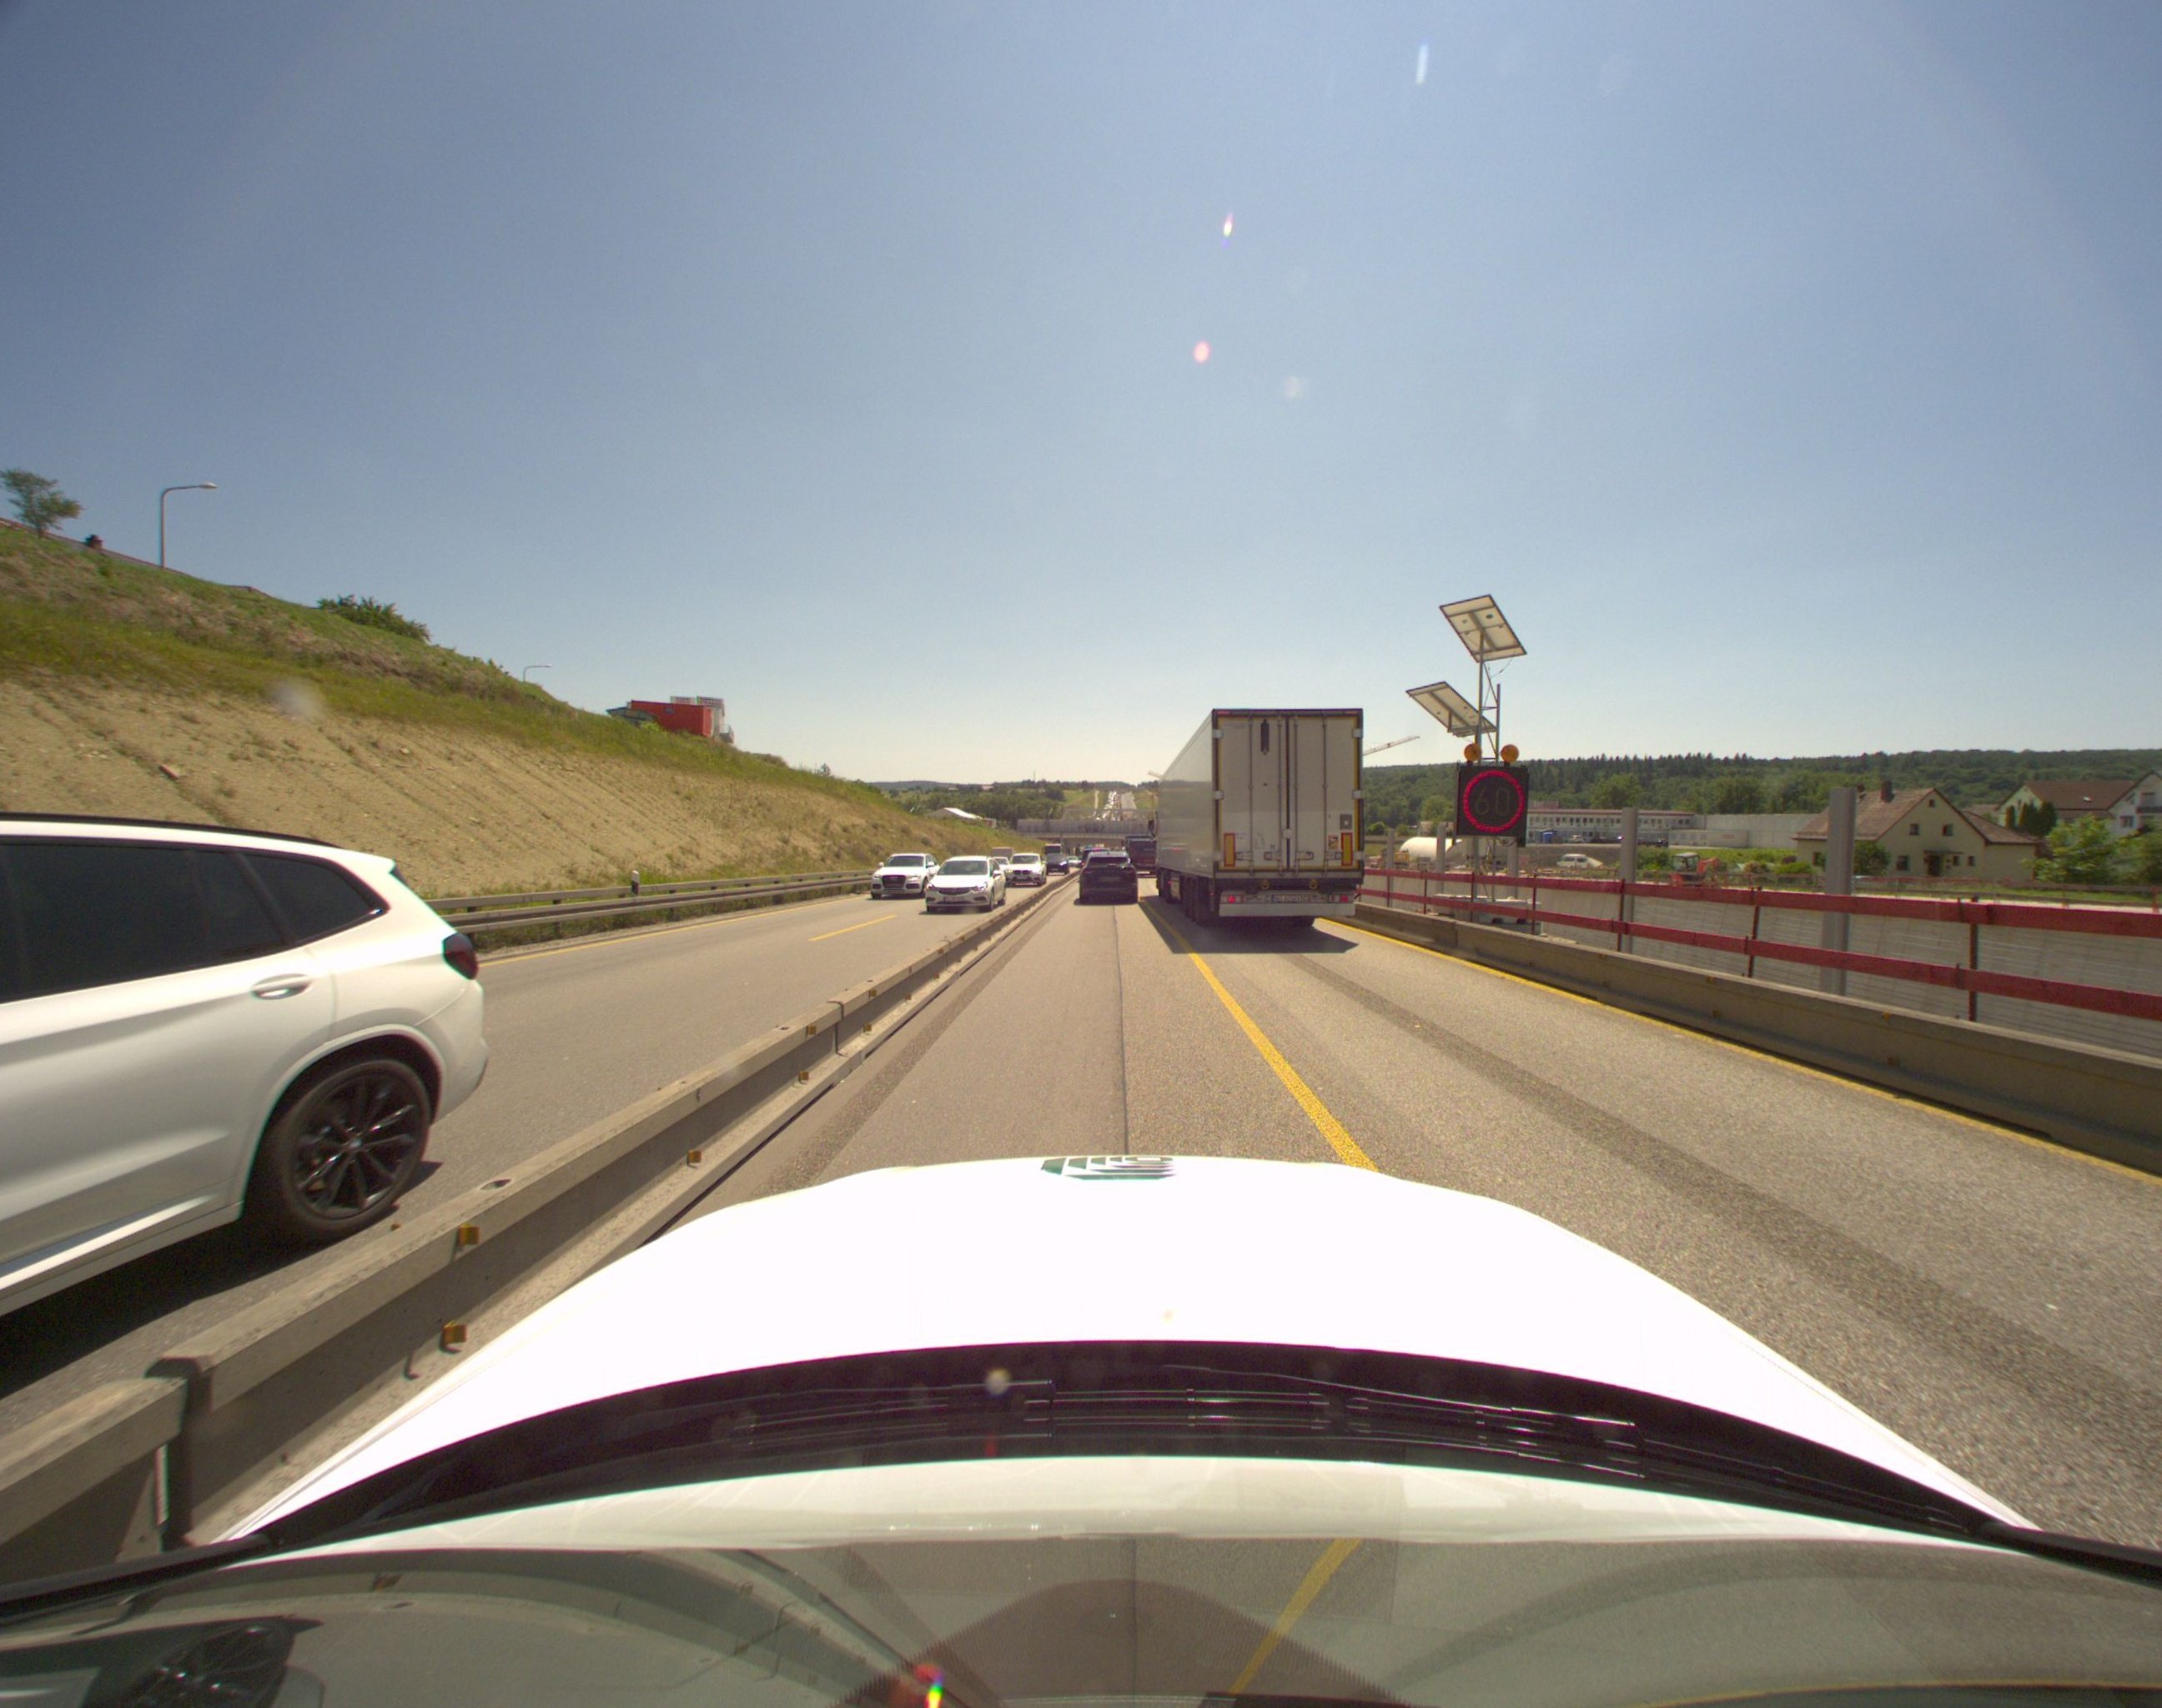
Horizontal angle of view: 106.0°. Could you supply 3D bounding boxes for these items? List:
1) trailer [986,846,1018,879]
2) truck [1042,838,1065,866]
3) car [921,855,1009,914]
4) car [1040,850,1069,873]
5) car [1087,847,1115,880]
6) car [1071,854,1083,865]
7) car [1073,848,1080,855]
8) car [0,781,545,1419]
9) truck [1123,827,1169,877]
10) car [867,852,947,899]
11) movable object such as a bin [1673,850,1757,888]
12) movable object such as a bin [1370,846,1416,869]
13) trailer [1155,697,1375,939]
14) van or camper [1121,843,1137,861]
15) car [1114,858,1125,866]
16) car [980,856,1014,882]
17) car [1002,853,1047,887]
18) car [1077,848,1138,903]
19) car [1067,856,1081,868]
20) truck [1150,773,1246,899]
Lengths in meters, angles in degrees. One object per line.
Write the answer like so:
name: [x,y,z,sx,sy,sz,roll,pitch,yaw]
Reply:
trailer: [-4.961,0.512,51.467,1.642,2.025,4.269,-1,0,-1]
truck: [-3.821,-0.247,116.083,2.577,3.723,9.336,-1,0,2]
car: [-3.170,0.783,23.054,1.800,1.477,4.281,0,0,1]
car: [-1.993,0.551,62.612,1.883,1.708,4.564,-1,0,2]
car: [1.174,0.515,46.647,1.468,1.795,3.300,-1,0,3]
car: [-0.552,0.772,113.865,1.679,1.430,4.122,-1,0,1]
car: [-1.053,-0.620,194.440,1.726,1.794,3.581,0,0,1]
car: [-3.842,0.663,2.056,1.884,1.708,4.562,0,0,1]
truck: [4.511,-0.115,58.834,2.803,3.135,12.845,-1,0,3]
car: [-6.373,0.739,30.321,1.892,1.584,4.515,0,0,1]
movable object such as a bin: [38.656,0.882,49.783,1.985,2.239,4.154,0,0,2]
movable object such as a bin: [41.472,0.434,108.712,2.876,2.909,9.485,0,0,3]
trailer: [3.755,-0.576,20.845,2.791,4.058,14.121,-1,0,2]
van or camper: [6.178,-0.261,105.077,1.986,2.244,4.003,1,0,2]
car: [6.068,1.252,128.123,1.533,1.206,3.310,-1,0,0]
car: [-4.933,0.840,48.197,1.642,1.415,3.999,-1,0,-1]
car: [-2.685,0.740,39.792,1.809,1.592,4.291,0,0,1]
car: [0.842,0.626,25.875,1.793,1.620,3.299,0,1,2]
car: [-0.867,1.018,102.666,1.679,1.430,3.293,-1,0,1]
truck: [4.004,-0.571,28.839,2.766,4.058,4.906,-1,0,1]
